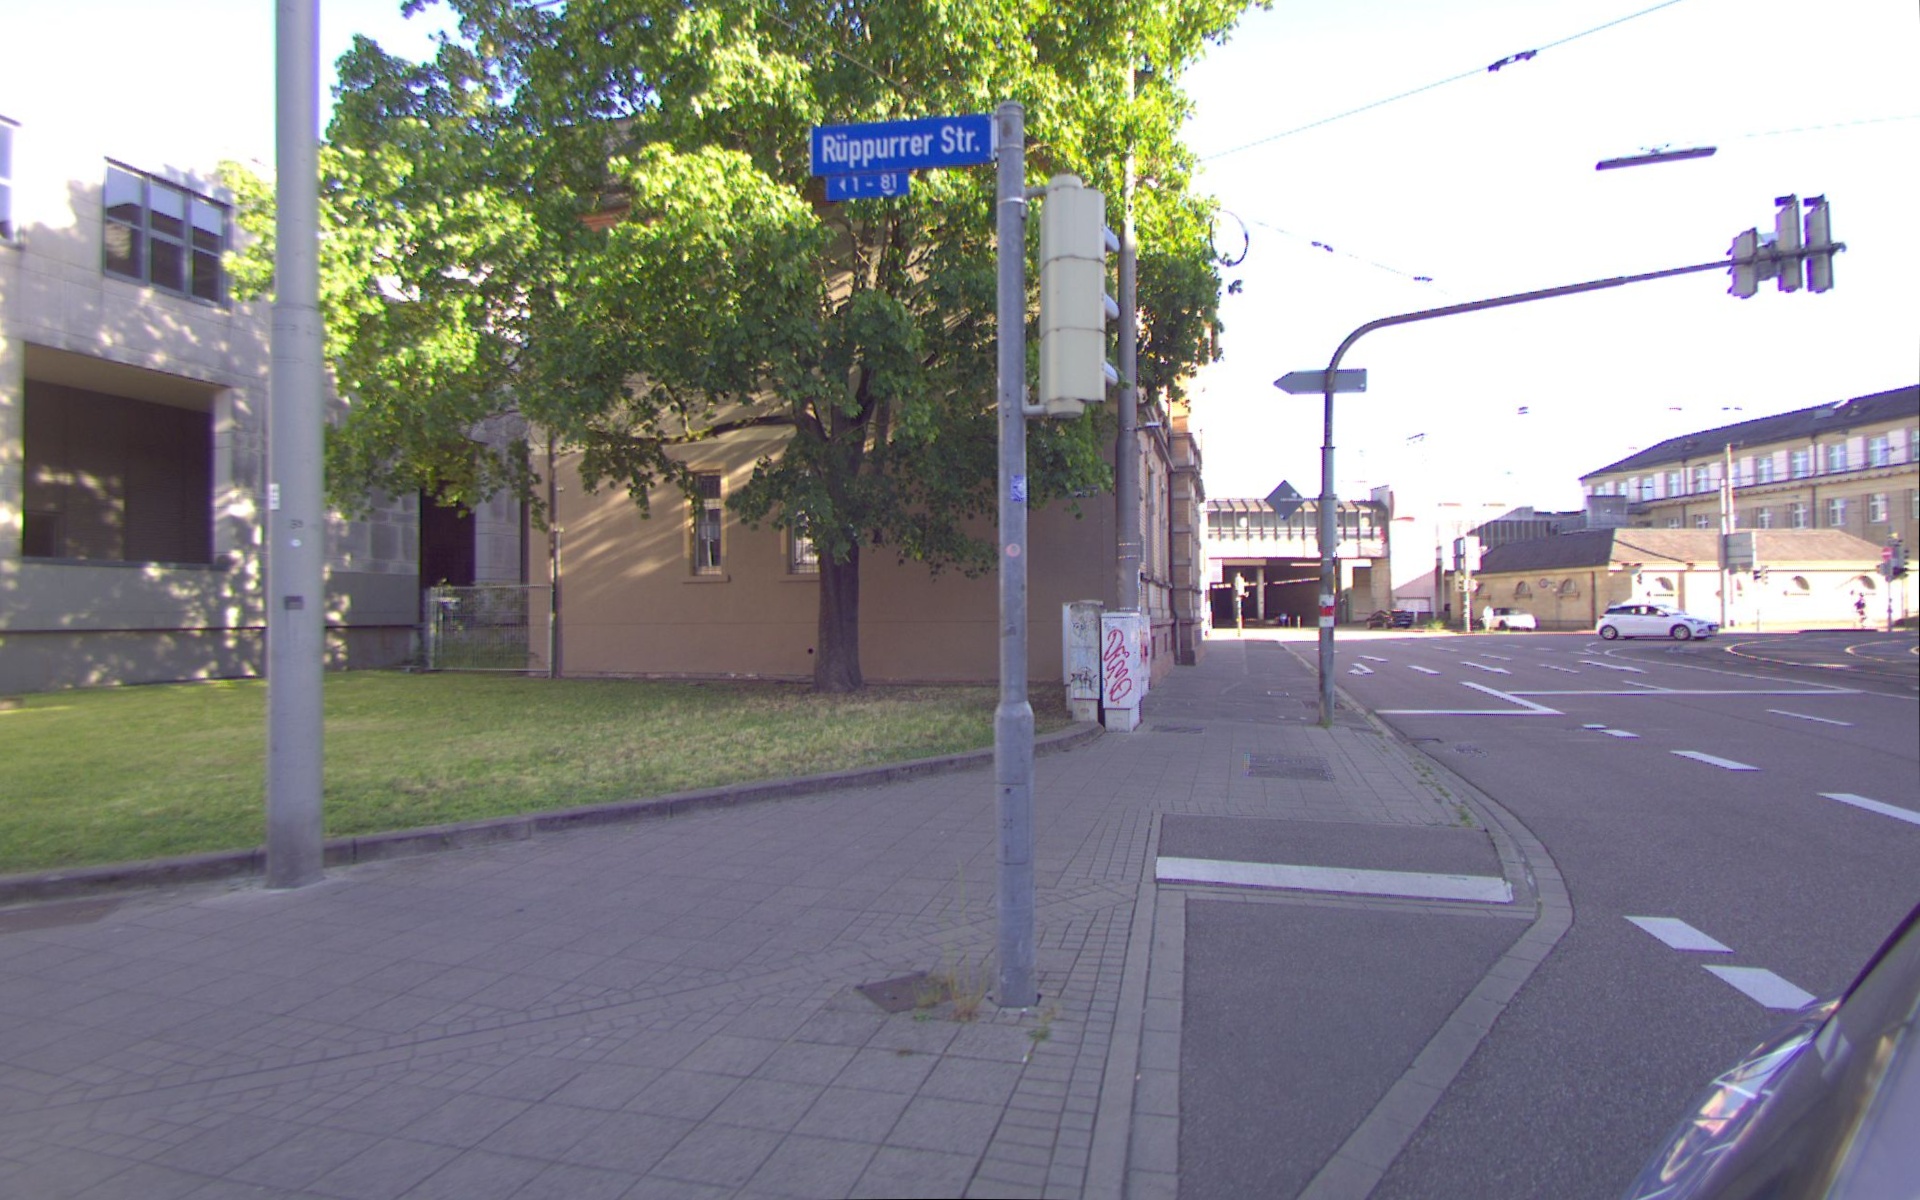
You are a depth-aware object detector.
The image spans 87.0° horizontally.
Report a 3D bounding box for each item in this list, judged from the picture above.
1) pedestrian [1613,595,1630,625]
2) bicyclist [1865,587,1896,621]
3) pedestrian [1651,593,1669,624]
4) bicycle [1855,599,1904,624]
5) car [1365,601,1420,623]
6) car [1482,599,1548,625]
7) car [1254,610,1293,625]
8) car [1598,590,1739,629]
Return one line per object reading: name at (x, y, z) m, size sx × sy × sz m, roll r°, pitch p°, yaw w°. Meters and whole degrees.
pedestrian at (36.893, 0.538, 56.422) m, size 0.505 × 1.661 × 0.626 m, roll 0°, pitch -1°, yaw -32°
bicyclist at (46.282, 0.209, 50.900) m, size 0.920 × 1.660 × 0.679 m, roll -2°, pitch -1°, yaw -10°
pedestrian at (37.502, 0.469, 54.229) m, size 0.479 × 1.661 × 0.626 m, roll 0°, pitch -1°, yaw -32°
bicycle at (46.219, 0.591, 50.882) m, size 2.031 × 1.150 × 0.686 m, roll -2°, pitch -1°, yaw -11°
car at (30.984, 0.876, 72.604) m, size 1.891 × 1.474 × 4.498 m, roll -1°, pitch -1°, yaw -2°
car at (31.234, 0.689, 57.072) m, size 1.699 × 1.393 × 3.534 m, roll -1°, pitch -1°, yaw 0°
car at (29.237, 1.617, 94.557) m, size 1.961 × 1.410 × 4.564 m, roll -1°, pitch -1°, yaw -4°
car at (27.502, 0.391, 39.392) m, size 1.758 × 1.411 × 4.105 m, roll 0°, pitch -1°, yaw -34°
